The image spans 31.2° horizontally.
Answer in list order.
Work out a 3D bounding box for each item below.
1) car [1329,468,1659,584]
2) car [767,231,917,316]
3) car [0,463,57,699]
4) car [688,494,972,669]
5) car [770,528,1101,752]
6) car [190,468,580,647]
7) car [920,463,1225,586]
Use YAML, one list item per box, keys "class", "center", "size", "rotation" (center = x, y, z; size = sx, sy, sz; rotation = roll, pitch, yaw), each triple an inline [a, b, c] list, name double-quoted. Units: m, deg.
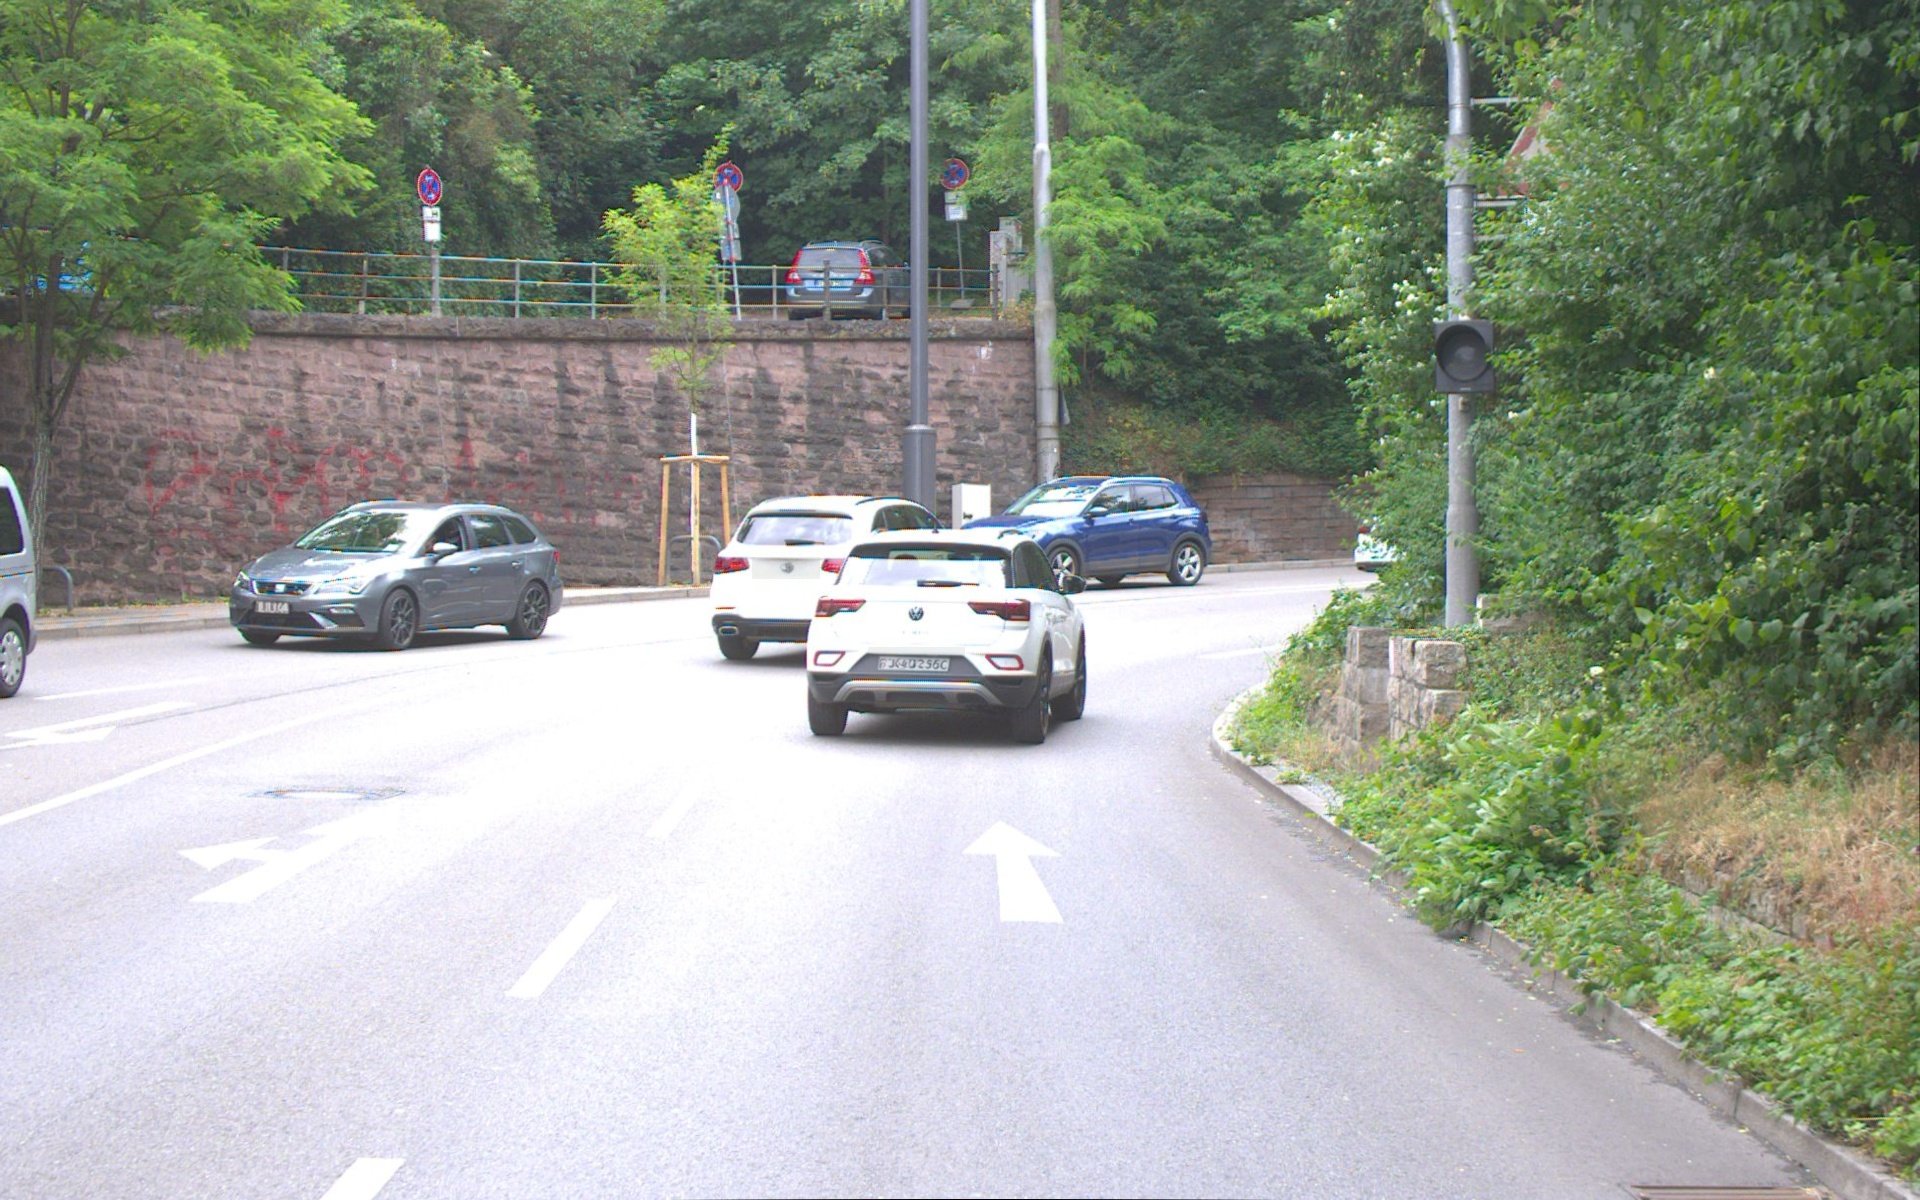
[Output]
- class: "car"
  center: [7.386, -1.020, 47.388]
  size: [4.295, 1.514, 2.254]
  rotation: [-2, 1, -41]
- class: "car"
  center: [-2.138, -6.008, 63.607]
  size: [1.994, 1.480, 4.000]
  rotation: [0, 5, 10]
- class: "car"
  center: [-8.368, -0.168, 25.120]
  size: [1.946, 1.792, 4.284]
  rotation: [2, 1, 7]
- class: "car"
  center: [-1.259, -0.222, 35.341]
  size: [1.878, 1.646, 4.339]
  rotation: [1, 1, 12]
- class: "car"
  center: [-0.106, 0.259, 26.685]
  size: [1.865, 1.551, 3.893]
  rotation: [2, 1, 10]
- class: "car"
  center: [-5.890, -0.468, 35.757]
  size: [1.948, 1.688, 4.280]
  rotation: [3, 2, 23]
- class: "car"
  center: [1.620, -1.070, 48.814]
  size: [3.988, 1.678, 1.999]
  rotation: [-1, 1, -39]
